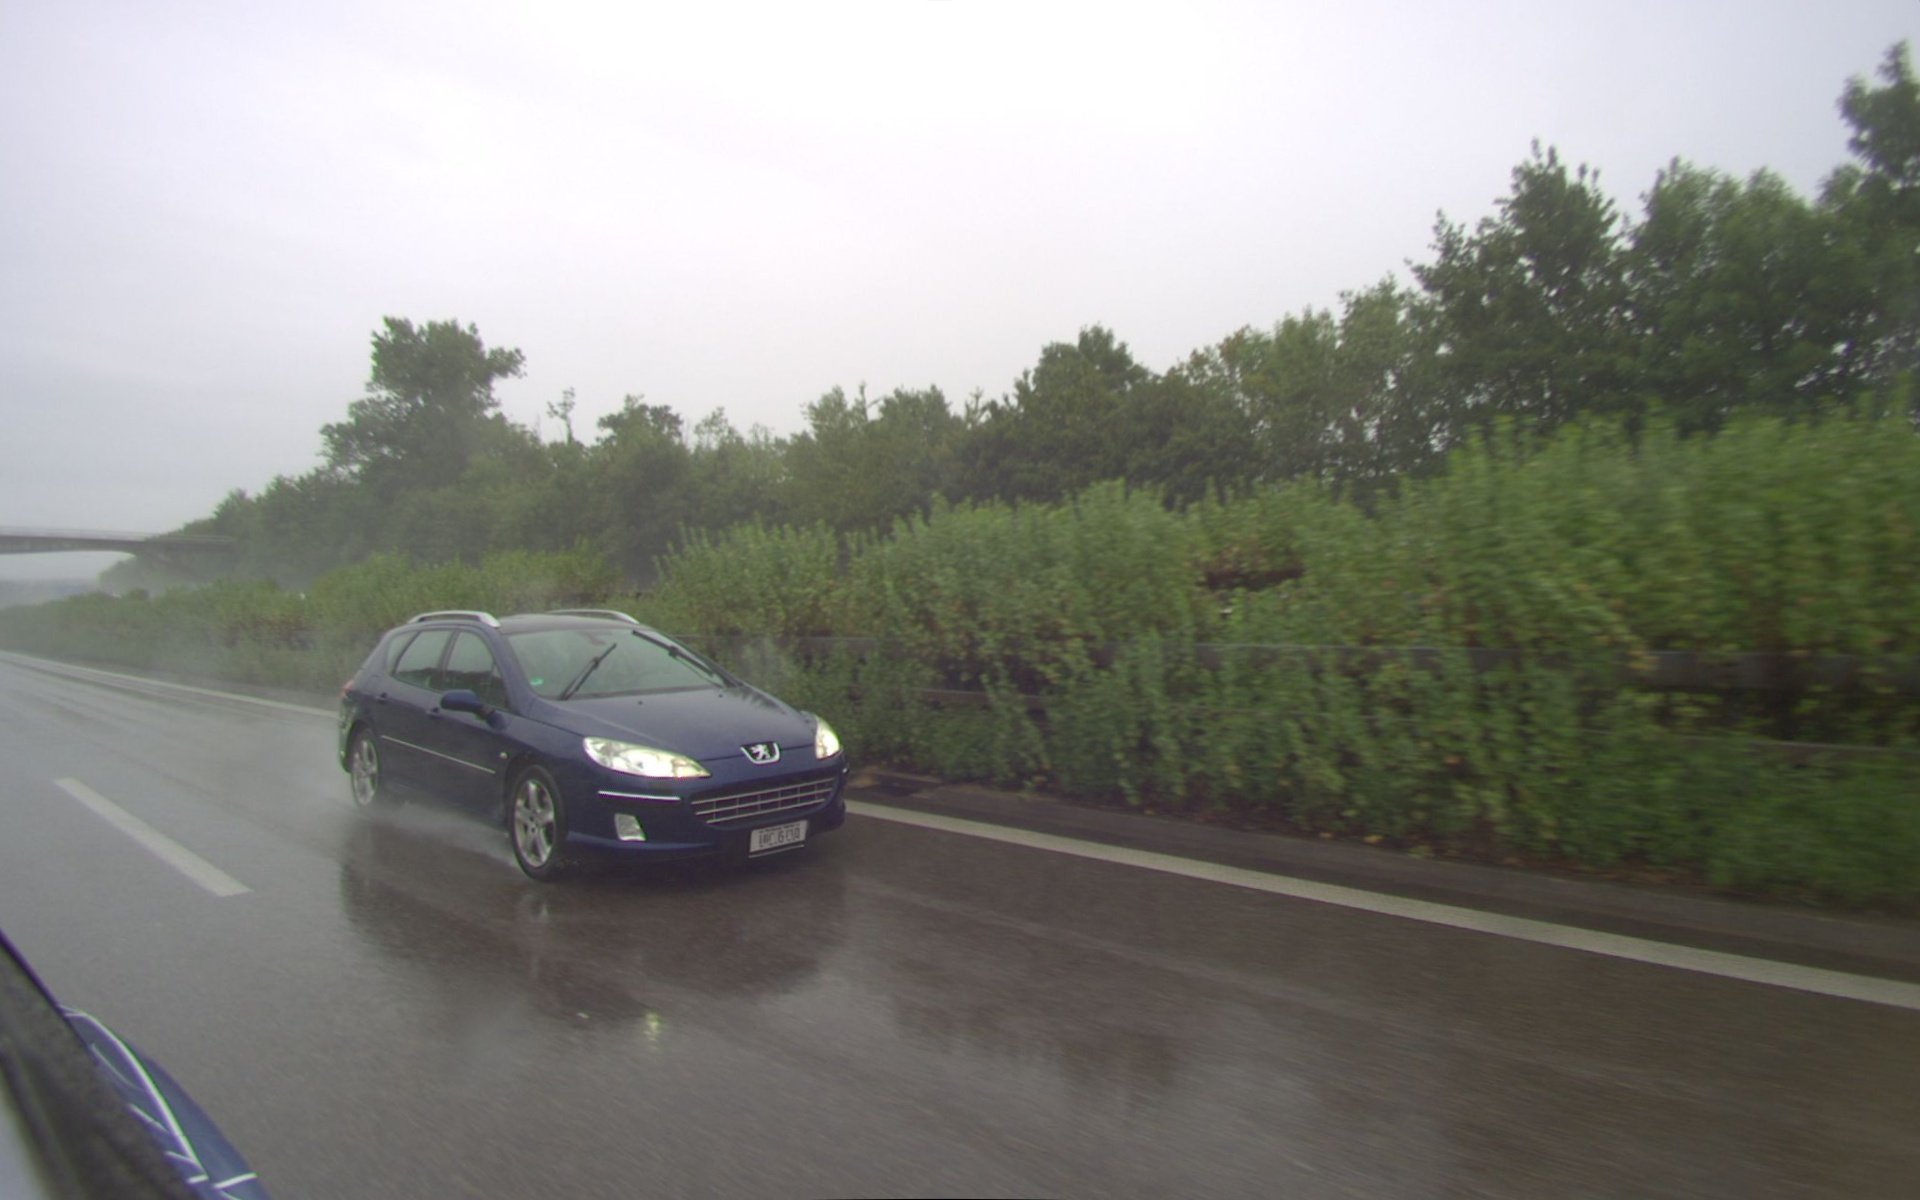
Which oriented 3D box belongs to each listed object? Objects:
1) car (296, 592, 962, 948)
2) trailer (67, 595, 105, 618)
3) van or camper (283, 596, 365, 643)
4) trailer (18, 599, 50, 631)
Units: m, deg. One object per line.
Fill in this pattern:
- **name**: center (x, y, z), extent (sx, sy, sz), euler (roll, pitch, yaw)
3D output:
- **car**: center (-2.565, 0.749, 6.812), extent (5.158, 1.496, 2.032), euler (-1, 0, 43)
- **trailer**: center (-133.439, 1.019, 154.490), extent (11.549, 3.410, 3.390), euler (-2, -1, 44)
- **van or camper**: center (-34.594, 1.043, 54.944), extent (5.891, 2.427, 2.260), euler (-1, -1, 42)
- **trailer**: center (-161.961, 2.696, 176.915), extent (11.549, 5.499, 3.390), euler (-2, -1, 44)
